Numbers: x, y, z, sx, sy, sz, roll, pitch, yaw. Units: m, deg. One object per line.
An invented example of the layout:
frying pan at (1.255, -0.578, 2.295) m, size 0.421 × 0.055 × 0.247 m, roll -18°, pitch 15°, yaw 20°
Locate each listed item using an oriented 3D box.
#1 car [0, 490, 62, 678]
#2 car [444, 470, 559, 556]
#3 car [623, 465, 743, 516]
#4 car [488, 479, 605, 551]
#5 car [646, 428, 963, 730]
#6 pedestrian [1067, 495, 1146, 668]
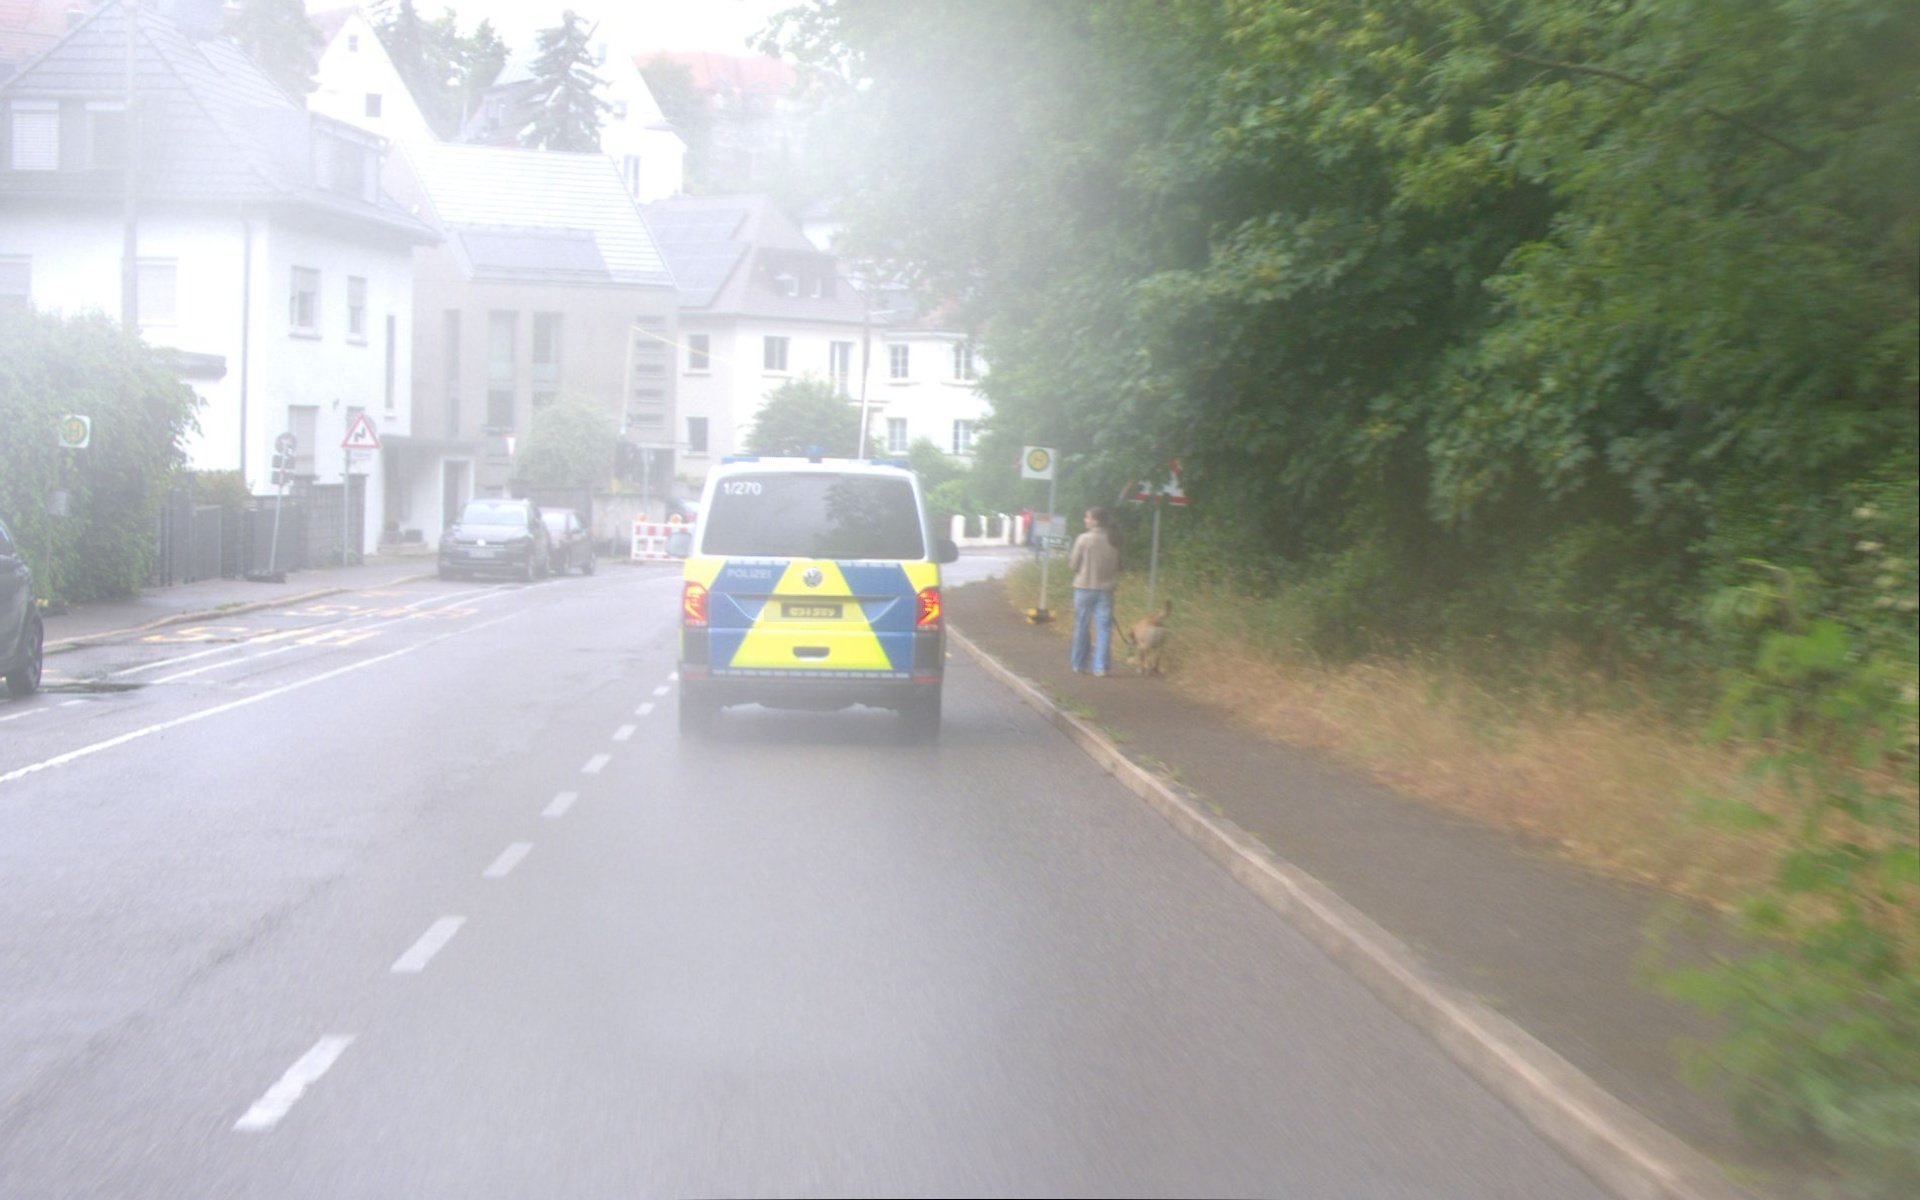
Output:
car at (-8.287, -0.139, 27.407) m, size 1.519 × 1.449 × 3.030 m, roll 0°, pitch 2°, yaw -1°
car at (-9.224, -1.788, 69.504) m, size 1.754 × 1.653 × 4.405 m, roll 0°, pitch 2°, yaw 0°
car at (-8.942, -3.537, 110.597) m, size 1.834 × 1.438 × 3.999 m, roll 0°, pitch 4°, yaw -40°
car at (-8.951, -1.865, 74.710) m, size 1.616 × 1.435 × 4.230 m, roll 2°, pitch 3°, yaw 6°
car at (-1.046, -0.164, 25.370) m, size 1.993 × 2.007 × 4.401 m, roll 1°, pitch 1°, yaw 2°
pedestrian at (1.385, -0.174, 32.553) m, size 0.641 × 1.605 × 0.670 m, roll 1°, pitch 1°, yaw -3°
